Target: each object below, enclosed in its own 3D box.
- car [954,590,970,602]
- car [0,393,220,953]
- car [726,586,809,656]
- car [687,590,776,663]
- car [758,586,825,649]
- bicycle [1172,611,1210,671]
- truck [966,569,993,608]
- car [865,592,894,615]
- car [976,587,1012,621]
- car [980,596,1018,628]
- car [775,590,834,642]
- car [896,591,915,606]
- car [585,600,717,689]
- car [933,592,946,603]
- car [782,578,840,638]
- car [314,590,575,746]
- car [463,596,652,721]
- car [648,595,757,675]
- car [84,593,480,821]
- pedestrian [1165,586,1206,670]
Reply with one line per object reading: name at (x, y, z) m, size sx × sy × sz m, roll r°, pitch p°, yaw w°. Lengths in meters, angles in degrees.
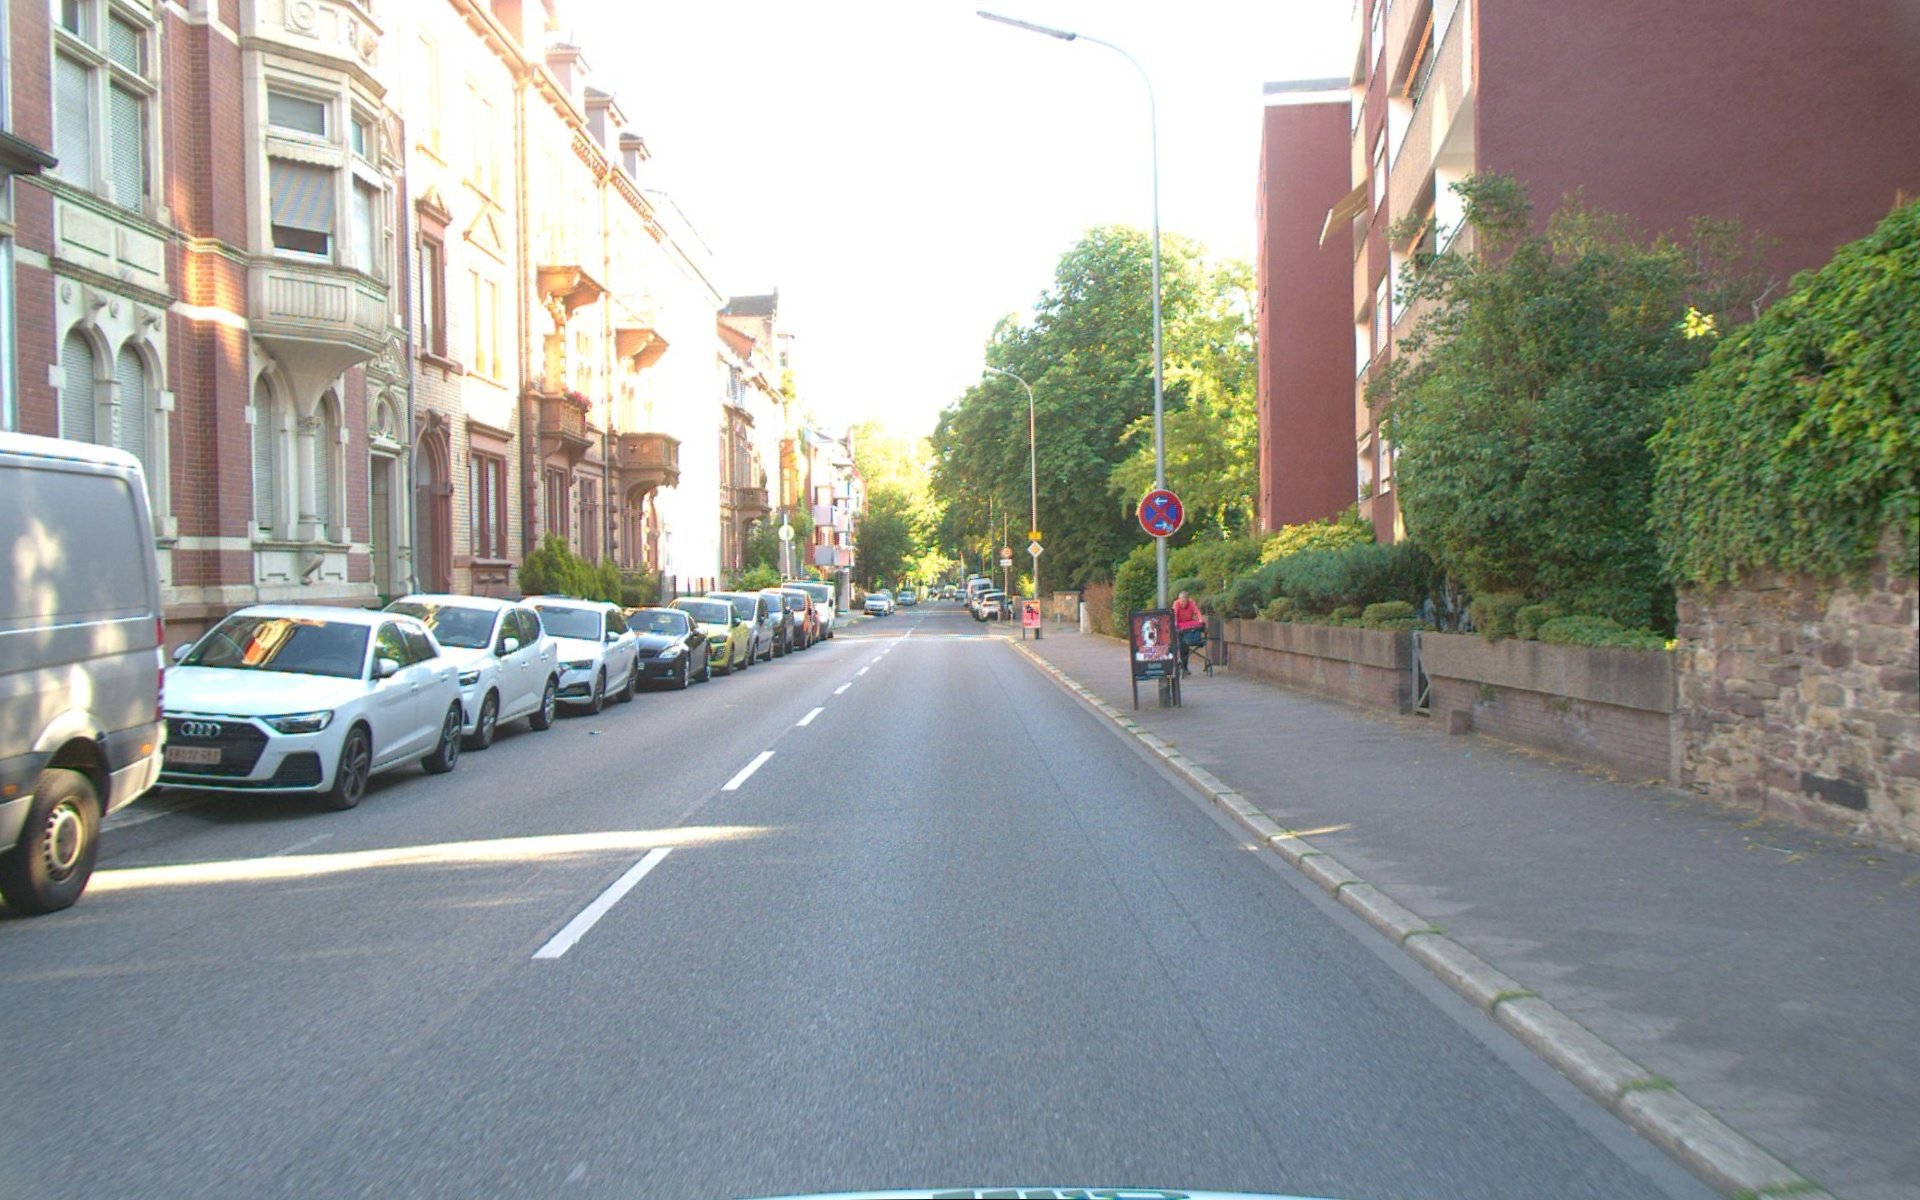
car at (0.223, -0.603, 227.949) m, size 1.954 × 1.517 × 4.468 m, roll -2°, pitch 1°, yaw -3°
car at (-5.305, 0.331, 6.565) m, size 2.025 × 2.503 × 6.014 m, roll 0°, pitch 1°, yaw 0°
car at (-5.055, 0.514, 43.909) m, size 1.667 × 1.737 × 4.440 m, roll 0°, pitch 1°, yaw 0°
car at (-5.316, 0.581, 38.812) m, size 1.668 × 1.611 × 3.634 m, roll 0°, pitch 1°, yaw -2°
car at (-4.947, 0.481, 48.876) m, size 1.668 × 1.769 × 3.856 m, roll 0°, pitch 1°, yaw -2°
bicycle at (3.885, 0.685, 27.793) m, size 0.555 × 0.987 × 0.492 m, roll 0°, pitch 1°, yaw -2°
truck at (1.523, -0.912, 129.754) m, size 1.953 × 2.947 × 4.470 m, roll -2°, pitch 1°, yaw -1°
car at (-5.857, 0.246, 120.915) m, size 1.953 × 1.517 × 4.470 m, roll -2°, pitch 1°, yaw -1°
car at (1.911, 0.187, 94.111) m, size 1.952 × 1.767 × 4.001 m, roll -2°, pitch 1°, yaw 1°
car at (2.066, 0.619, 88.620) m, size 1.952 × 1.544 × 4.001 m, roll -2°, pitch 1°, yaw 1°
car at (-5.074, 0.493, 54.365) m, size 1.668 × 1.648 × 4.117 m, roll 0°, pitch 1°, yaw -2°
car at (-6.192, -0.219, 187.615) m, size 1.953 × 1.517 × 4.470 m, roll -2°, pitch 1°, yaw -1°
car at (-5.288, 0.723, 28.726) m, size 1.668 × 1.390 × 3.858 m, roll 0°, pitch 1°, yaw -2°
car at (-3.169, -0.417, 257.829) m, size 1.953 × 1.517 × 4.470 m, roll -2°, pitch 1°, yaw -1°
car at (-5.319, 0.254, 59.556) m, size 1.756 × 2.045 × 4.696 m, roll 0°, pitch 1°, yaw -2°
car at (-5.617, 0.664, 18.531) m, size 1.667 × 1.529 × 4.021 m, roll 0°, pitch 1°, yaw 0°
car at (-5.587, 0.746, 23.486) m, size 1.668 × 1.563 × 4.548 m, roll 0°, pitch 1°, yaw -2°
car at (-5.194, 0.710, 33.805) m, size 1.668 × 1.529 × 4.071 m, roll 0°, pitch -1°, yaw -2°
car at (-5.191, 0.728, 13.220) m, size 1.668 × 1.529 × 3.822 m, roll 0°, pitch 1°, yaw -2°
pedestrian at (3.870, 0.474, 28.398) m, size 0.585 × 1.427 × 0.668 m, roll 0°, pitch 1°, yaw -2°
